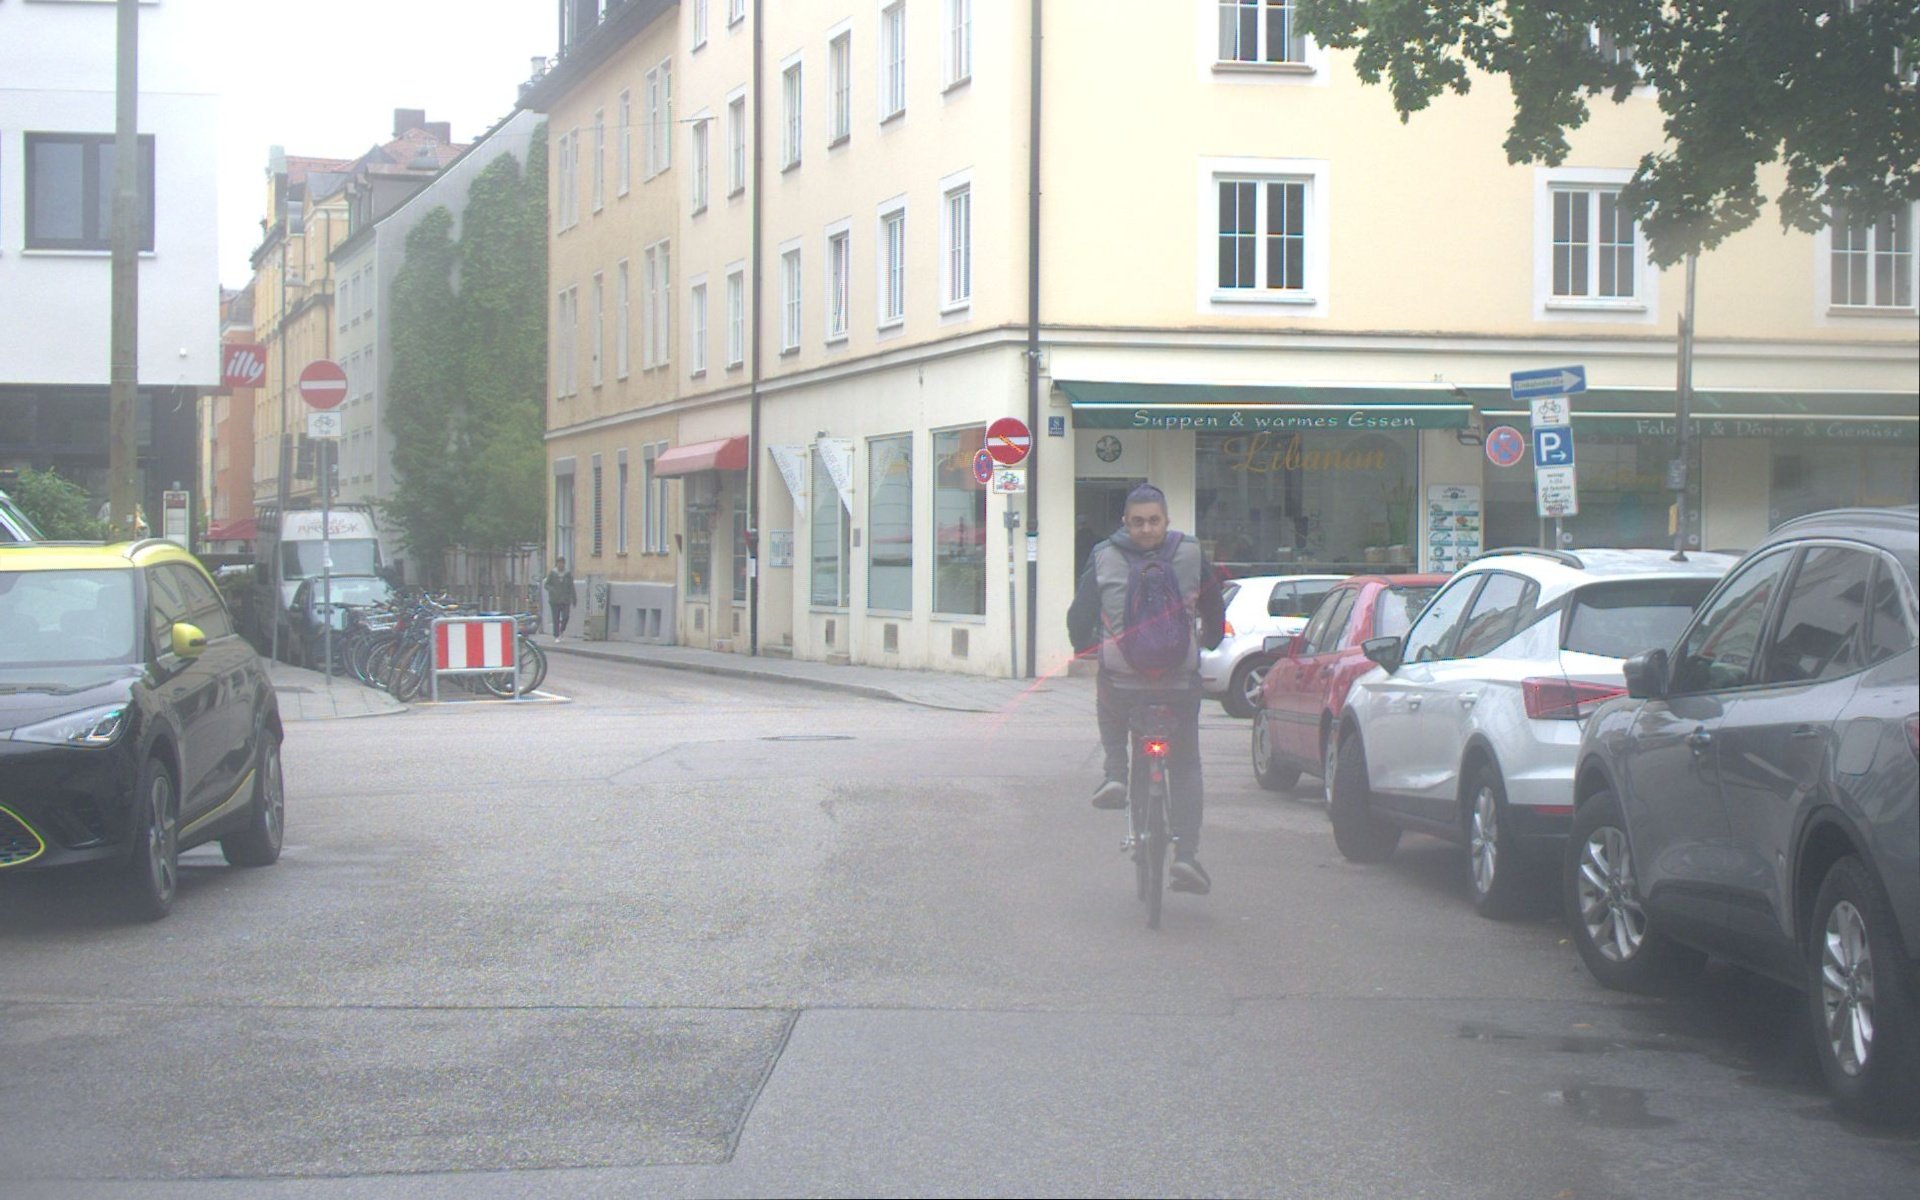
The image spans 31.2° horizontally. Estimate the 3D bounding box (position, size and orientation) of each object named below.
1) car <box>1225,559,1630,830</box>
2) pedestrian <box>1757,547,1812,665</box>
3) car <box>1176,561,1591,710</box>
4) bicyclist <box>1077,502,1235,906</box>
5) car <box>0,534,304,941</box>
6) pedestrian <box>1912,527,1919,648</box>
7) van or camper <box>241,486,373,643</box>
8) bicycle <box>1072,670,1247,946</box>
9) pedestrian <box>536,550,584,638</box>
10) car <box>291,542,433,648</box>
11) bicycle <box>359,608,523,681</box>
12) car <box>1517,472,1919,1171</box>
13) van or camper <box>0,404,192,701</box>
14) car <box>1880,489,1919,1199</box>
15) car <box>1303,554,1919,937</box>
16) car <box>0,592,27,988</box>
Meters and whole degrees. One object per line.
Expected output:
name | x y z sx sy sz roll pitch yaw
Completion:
car | 2.733 0.496 21.009 1.669 1.430 4.214 1 1 -3
pedestrian | 10.128 0.070 42.232 0.512 1.428 0.582 1 1 29
car | 4.281 0.381 35.152 3.987 1.411 1.820 1 -3 -1
bicyclist | 0.788 0.404 14.009 0.606 1.601 0.757 0 1 1
car | -4.157 0.539 15.532 1.676 1.591 3.945 -2 1 -1
pedestrian | 12.497 -0.163 43.848 0.433 1.545 0.535 0 1 -30
van or camper | -11.099 -0.611 58.219 1.993 2.531 4.762 0 1 -13
bicycle | 0.788 0.813 13.954 0.639 1.001 1.574 0 1 1
pedestrian | -8.041 -0.124 69.095 0.877 1.772 0.774 0 1 -14
car | -9.095 -0.103 52.091 1.832 1.530 4.001 0 1 -14
bicycle | -6.370 0.539 42.214 1.910 0.860 0.619 0 1 -18
car | 3.107 0.504 10.648 1.789 1.707 4.427 0 1 -3
van or camper | -10.094 -0.415 31.520 5.903 2.668 1.873 0 -1 -11
car | 2.967 0.637 5.469 1.777 1.630 4.375 2 1 0
car | 2.816 0.554 15.532 1.750 1.491 3.910 1 1 -6
car | -4.258 0.711 10.405 1.707 1.385 4.000 -1 1 1
